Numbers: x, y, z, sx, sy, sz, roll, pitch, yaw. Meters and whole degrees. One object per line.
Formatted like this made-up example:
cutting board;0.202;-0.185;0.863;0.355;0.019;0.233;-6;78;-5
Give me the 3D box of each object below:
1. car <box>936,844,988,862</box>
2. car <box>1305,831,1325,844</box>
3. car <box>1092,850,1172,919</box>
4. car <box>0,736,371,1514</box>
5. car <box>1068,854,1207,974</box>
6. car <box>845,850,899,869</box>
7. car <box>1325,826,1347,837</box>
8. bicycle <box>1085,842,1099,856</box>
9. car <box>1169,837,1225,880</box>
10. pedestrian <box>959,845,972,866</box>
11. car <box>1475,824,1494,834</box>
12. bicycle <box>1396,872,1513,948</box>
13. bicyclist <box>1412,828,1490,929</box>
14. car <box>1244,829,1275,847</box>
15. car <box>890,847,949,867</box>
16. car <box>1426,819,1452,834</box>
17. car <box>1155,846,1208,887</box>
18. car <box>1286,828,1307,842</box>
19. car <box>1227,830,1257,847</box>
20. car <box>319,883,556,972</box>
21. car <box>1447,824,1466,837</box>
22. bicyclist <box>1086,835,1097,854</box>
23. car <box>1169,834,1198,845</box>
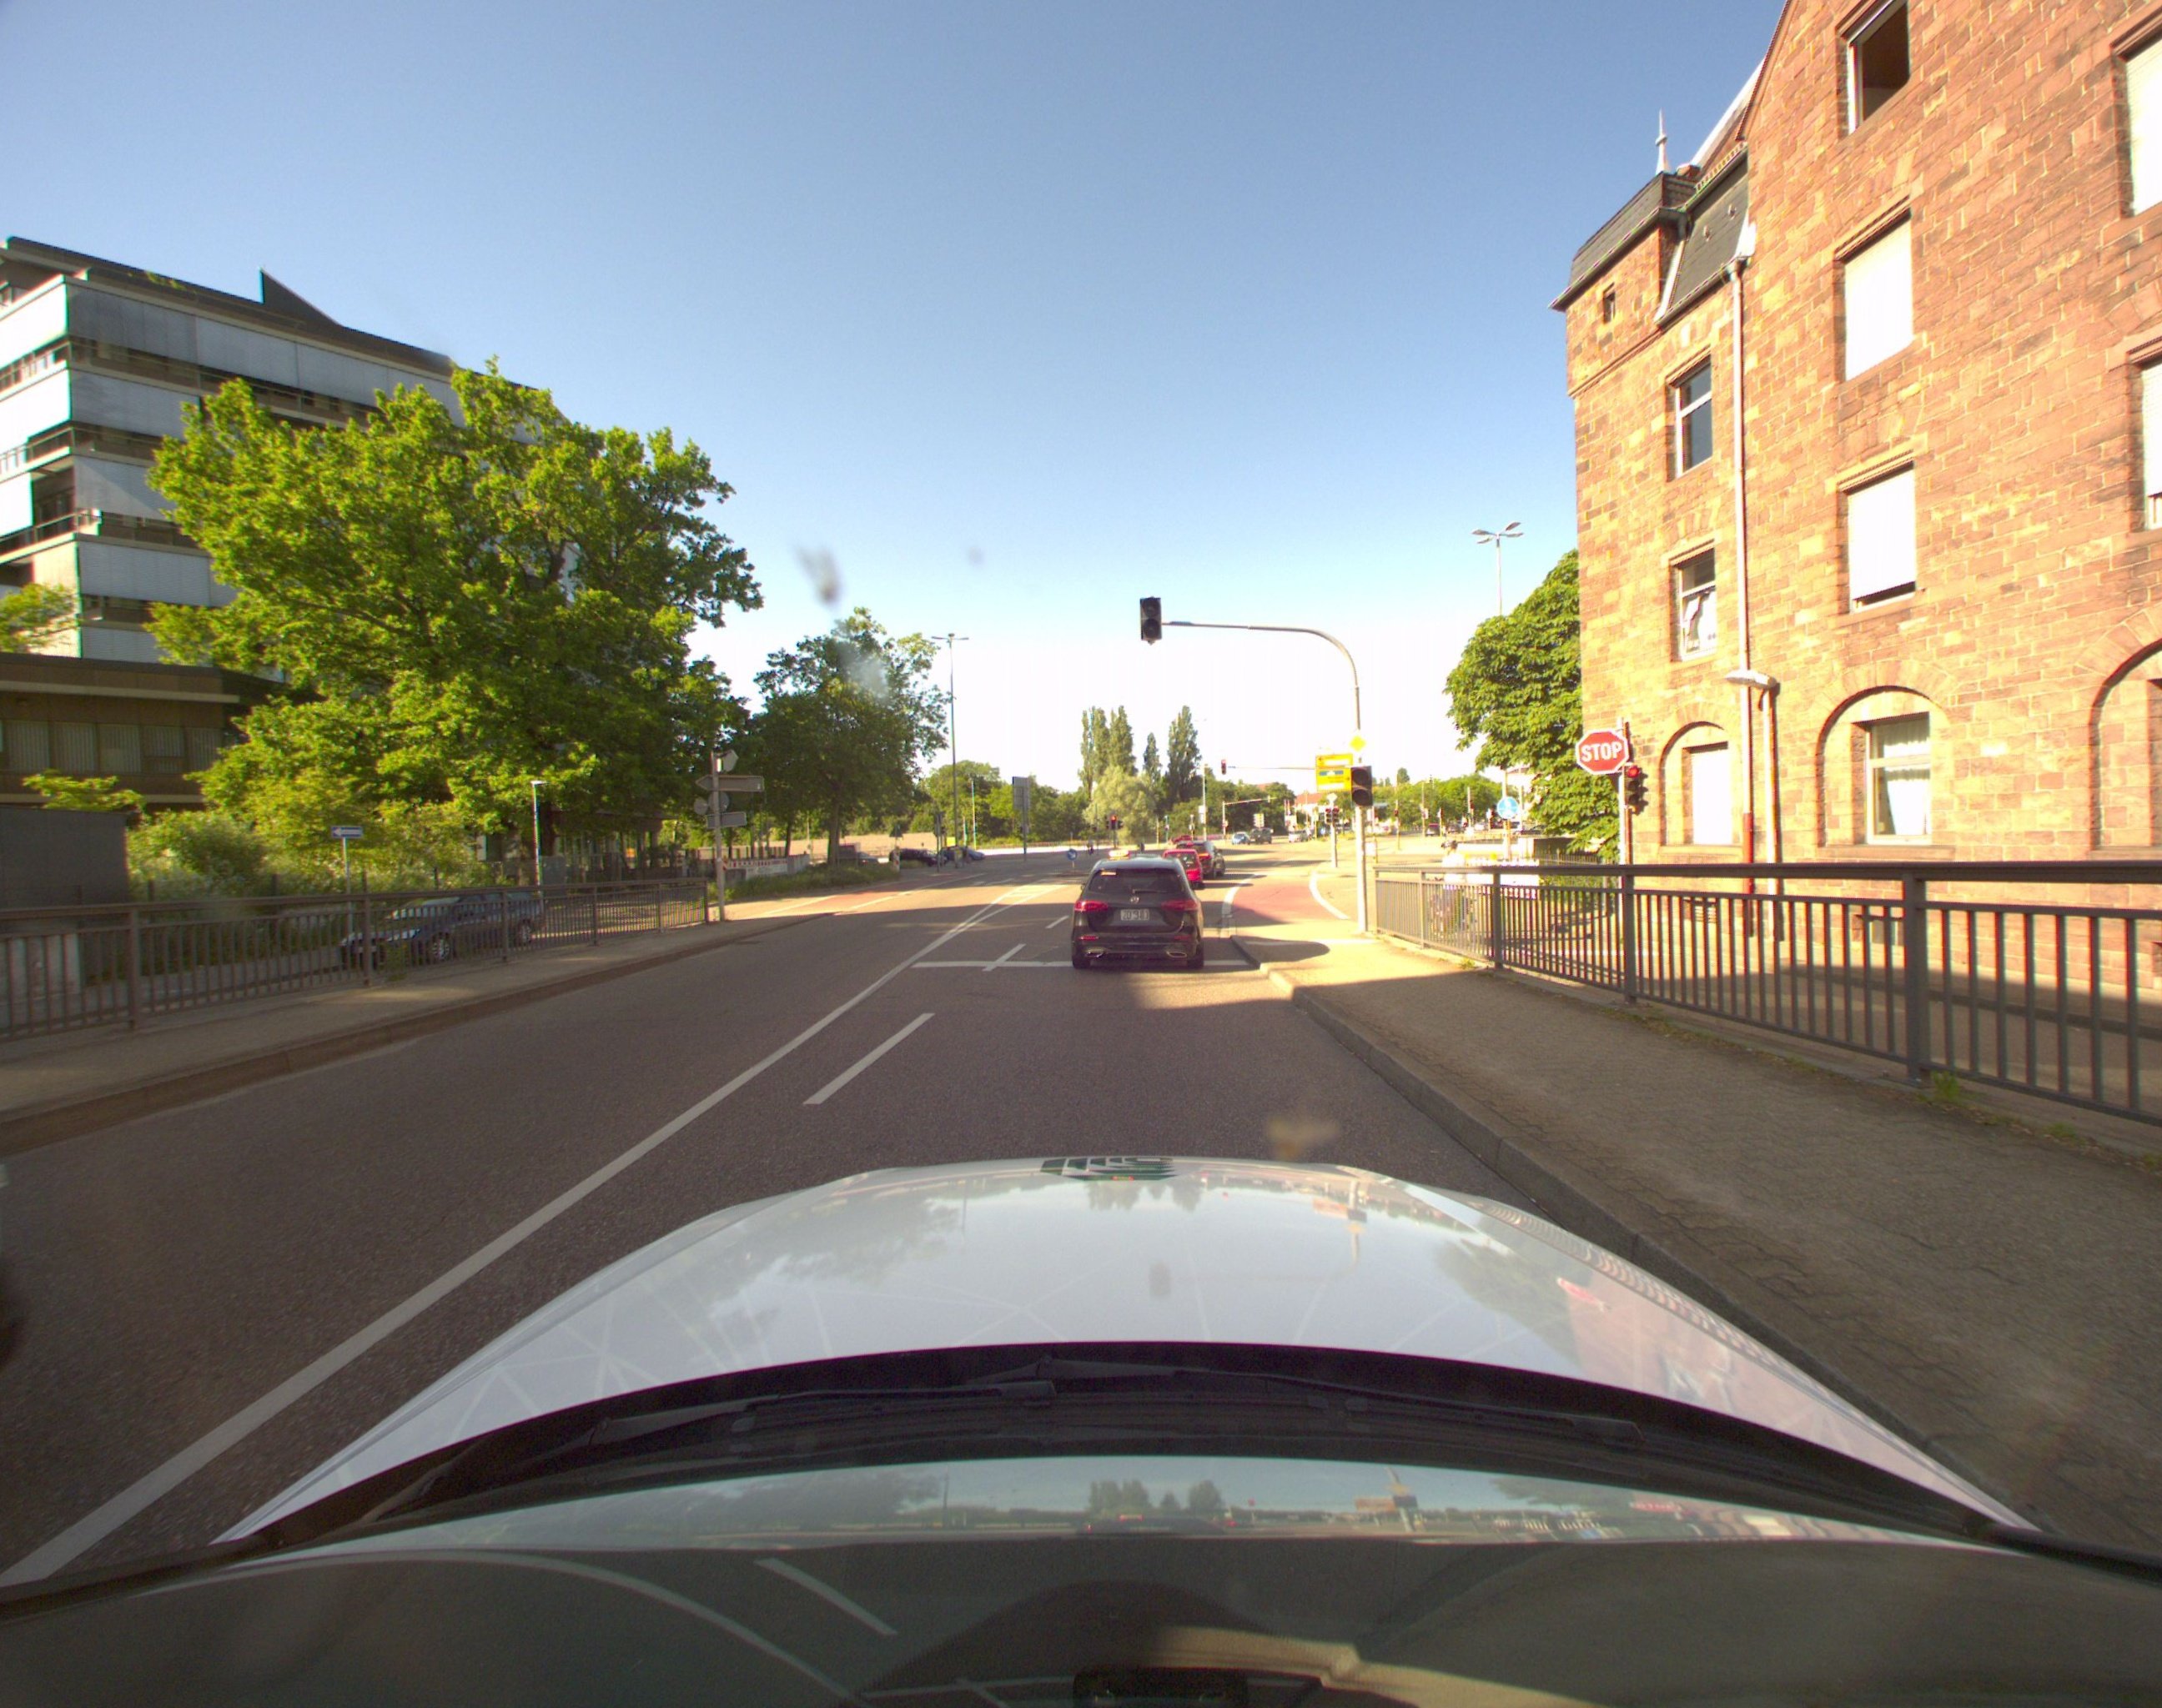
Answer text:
car;-10.934;-0.114;74.629;4.395;1.438;1.837;-2;1;27
car;31.260;-2.205;108.868;1.707;1.582;4.028;-1;1;27
car;1.274;0.698;21.080;1.813;1.489;4.003;-2;1;2
car;-3.361;0.680;0.288;1.806;1.801;5.116;-2;1;-3
car;0.781;0.782;12.342;1.744;1.494;4.001;-1;-1;2
car;-17.725;0.491;69.031;4.393;1.438;1.838;-2;1;31
car;36.772;-3.250;117.364;1.974;1.453;4.026;-1;1;35
bicycle;1.044;-0.494;75.485;0.682;1.202;2.337;-1;2;15
car;5.435;0.147;37.729;1.854;1.790;4.435;0;2;18
pedestrian;-9.028;0.112;63.896;0.683;1.538;1.368;-1;-4;6
car;67.937;-4.250;137.111;1.974;1.640;4.026;-2;1;37
bicycle;6.521;0.932;14.388;0.798;1.110;2.398;-1;1;-5
bicyclist;6.547;0.415;14.450;0.798;1.705;1.083;-1;0;-7
car;21.038;-1.880;95.785;1.974;1.935;4.883;-1;1;32
car;-12.875;0.231;64.851;4.393;1.438;1.838;-2;1;31
car;46.185;-3.543;104.950;1.974;1.794;4.025;-1;-1;40
car;4.044;0.433;32.320;1.808;1.479;4.013;0;1;11
car;26.436;-2.360;99.898;1.804;1.582;4.127;-2;1;23
car;20.059;-1.938;101.237;1.974;1.864;4.883;-1;1;32
car;-14.542;1.577;18.825;1.814;1.503;4.452;-2;1;1
car;56.258;-3.517;121.912;1.974;1.793;4.026;-2;1;34
bicyclist;0.983;-0.910;75.295;0.682;1.701;1.203;-1;2;15
car;15.662;-2.223;124.673;3.997;1.548;1.988;-2;1;-18
